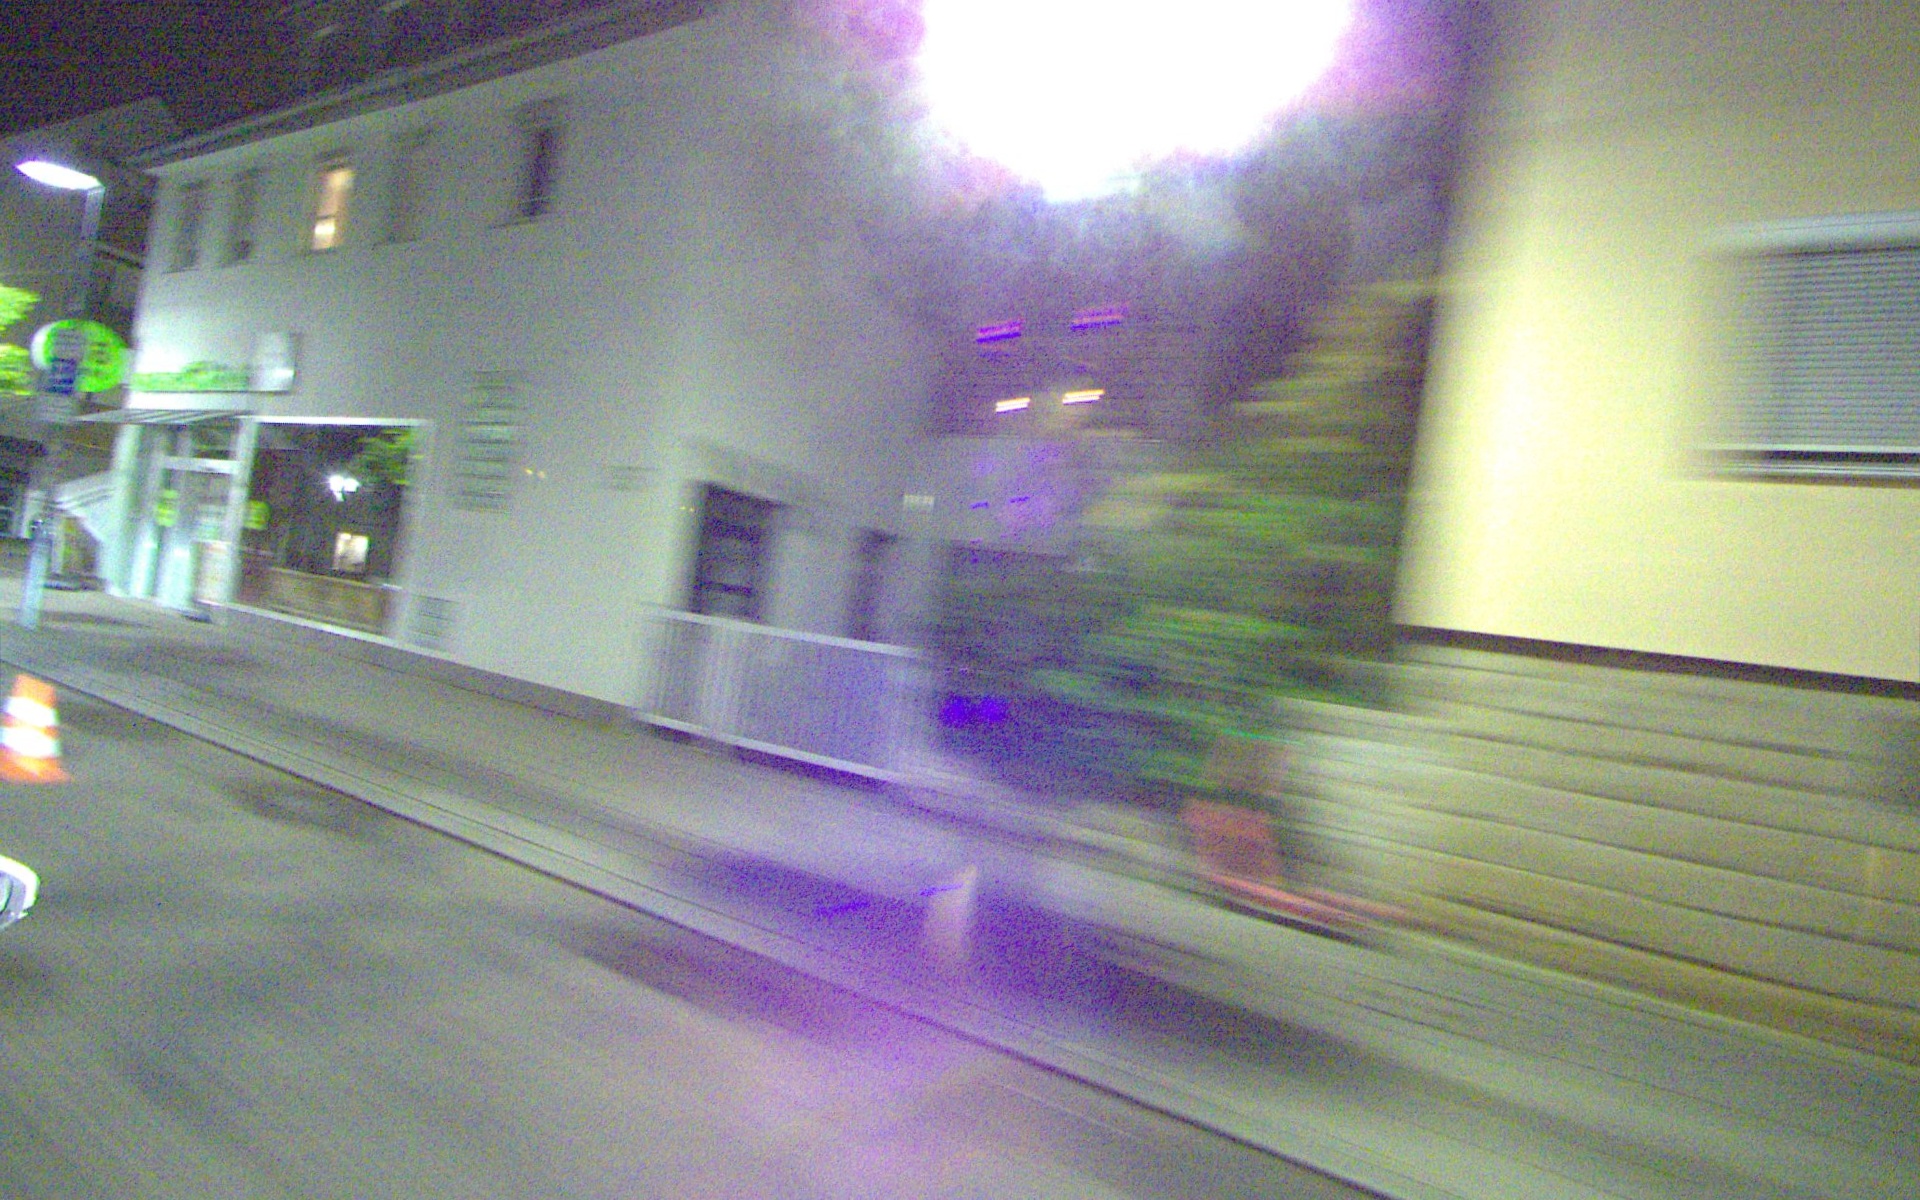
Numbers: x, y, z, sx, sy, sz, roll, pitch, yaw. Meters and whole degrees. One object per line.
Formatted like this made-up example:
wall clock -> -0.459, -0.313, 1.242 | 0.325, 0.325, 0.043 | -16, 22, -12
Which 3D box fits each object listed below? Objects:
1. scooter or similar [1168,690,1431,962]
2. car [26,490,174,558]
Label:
scooter or similar -> 1.965, 1.258, 5.896 | 1.284, 1.291, 0.373 | 6, -1, 33
car -> -22.927, -2.034, 26.797 | 3.989, 1.480, 1.805 | 6, 2, 31
